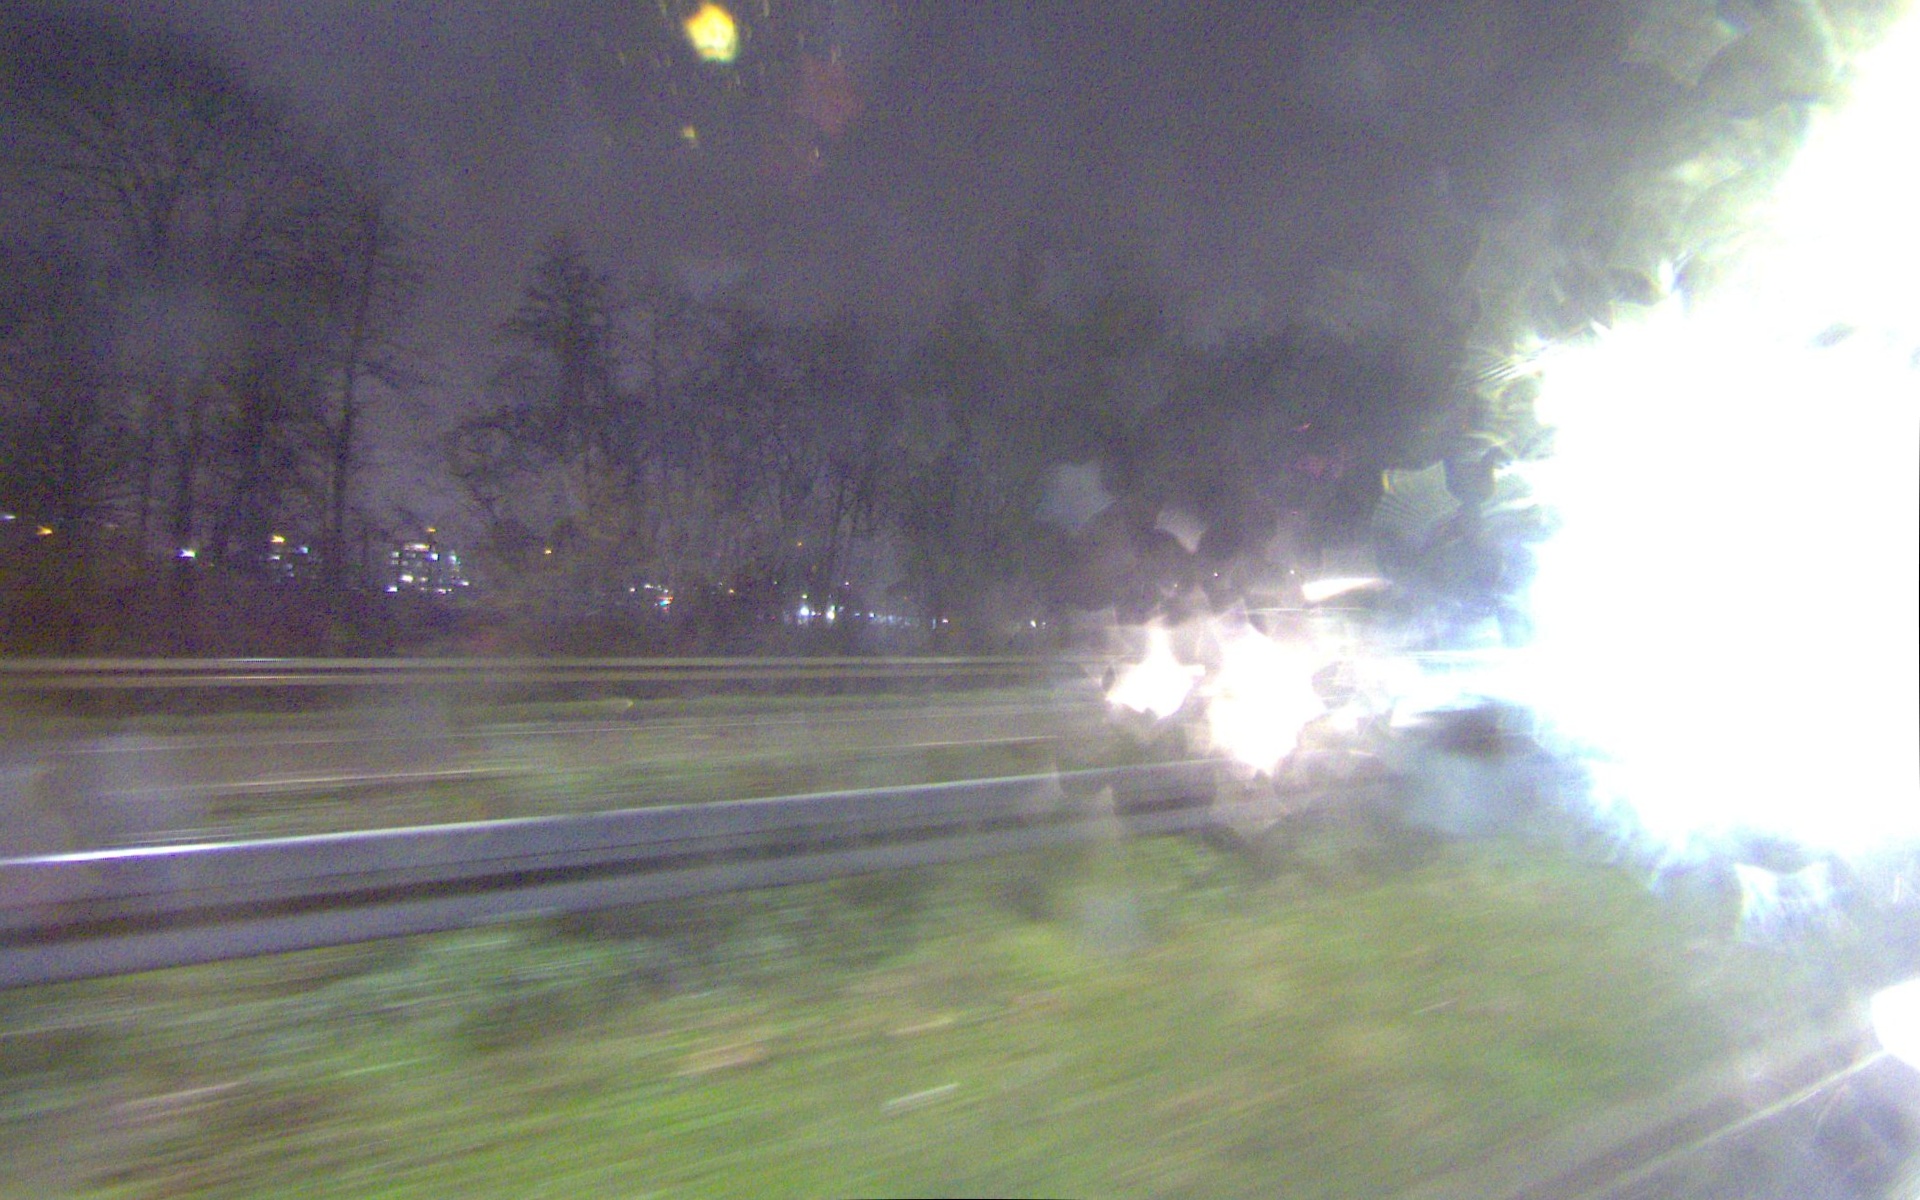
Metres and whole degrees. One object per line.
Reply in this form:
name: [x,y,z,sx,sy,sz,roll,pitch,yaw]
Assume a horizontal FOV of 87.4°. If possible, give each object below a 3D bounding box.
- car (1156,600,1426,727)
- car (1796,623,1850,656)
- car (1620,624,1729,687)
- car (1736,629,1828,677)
car: [5.049,0.874,15.094,4.210,1.653,1.753,1,0,-37]
car: [42.095,1.934,48.973,3.916,1.515,1.717,3,-4,-45]
car: [20.040,1.492,28.140,3.482,1.592,1.831,1,0,-43]
car: [30.173,1.923,36.835,4.521,1.614,1.760,2,-2,-39]
